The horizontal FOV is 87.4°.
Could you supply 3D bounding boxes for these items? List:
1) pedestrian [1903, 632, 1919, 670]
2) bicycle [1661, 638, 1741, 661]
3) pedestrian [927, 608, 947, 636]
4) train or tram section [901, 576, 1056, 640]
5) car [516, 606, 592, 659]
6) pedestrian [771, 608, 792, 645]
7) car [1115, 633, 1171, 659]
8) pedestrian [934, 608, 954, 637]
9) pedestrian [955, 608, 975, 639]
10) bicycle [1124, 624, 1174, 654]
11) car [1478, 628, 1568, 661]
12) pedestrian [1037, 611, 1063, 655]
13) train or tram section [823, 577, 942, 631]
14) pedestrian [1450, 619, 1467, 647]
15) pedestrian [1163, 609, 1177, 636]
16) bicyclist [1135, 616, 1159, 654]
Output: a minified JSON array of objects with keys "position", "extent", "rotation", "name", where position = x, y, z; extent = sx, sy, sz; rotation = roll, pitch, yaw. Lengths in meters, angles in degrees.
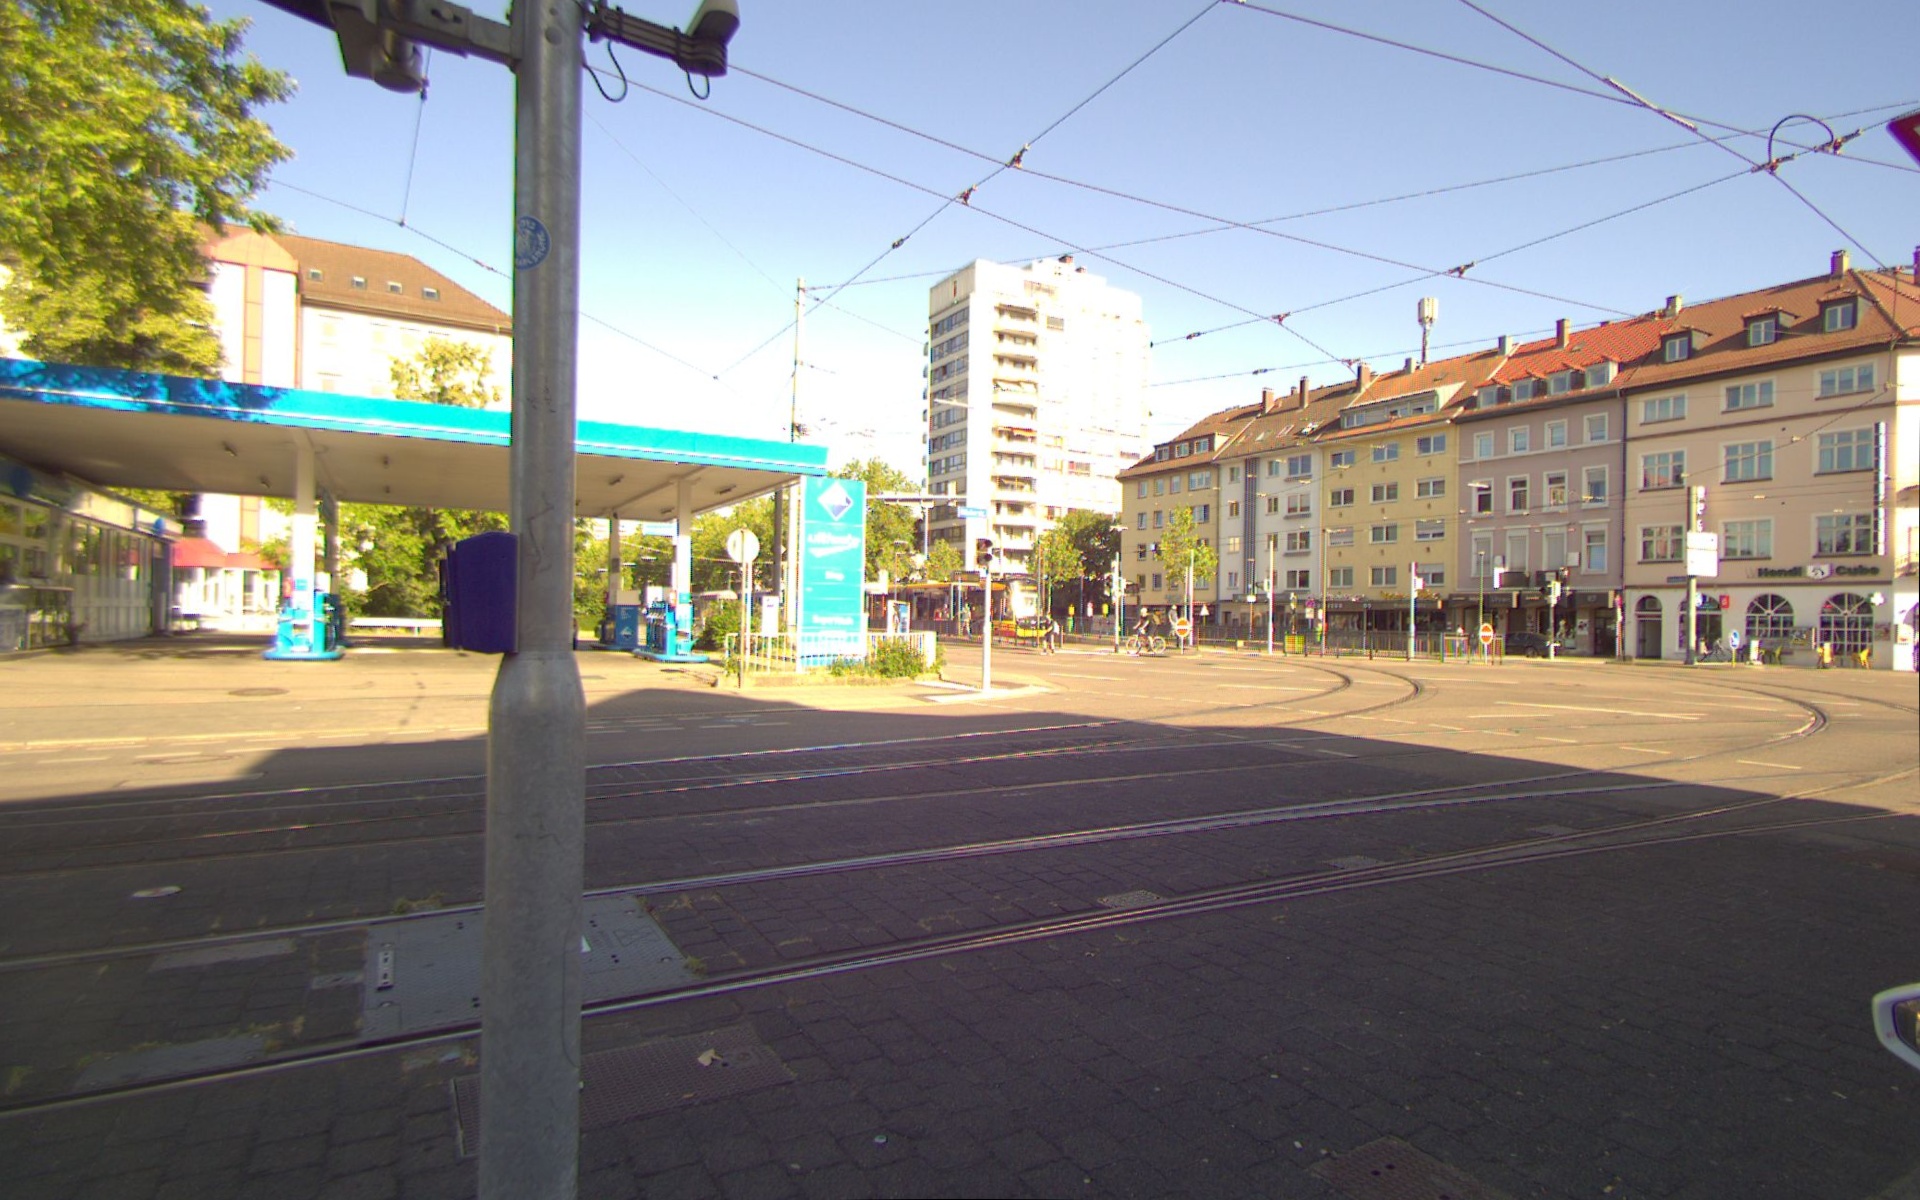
[{"position":[41.352,2.213,43.485],"extent":[0.460,1.633,0.629],"rotation":[2,0,-33],"name":"pedestrian"},{"position":[37.496,2.493,50.889],"extent":[0.989,0.993,3.115],"rotation":[2,0,-29],"name":"bicycle"},{"position":[-1.281,1.210,55.571],"extent":[0.814,1.532,0.699],"rotation":[1,-1,-33],"name":"pedestrian"},{"position":[0.702,0.354,57.596],"extent":[2.751,3.273,12.286],"rotation":[2,0,-31],"name":"train or tram section"},{"position":[-12.166,0.943,30.015],"extent":[1.764,1.411,3.455],"rotation":[2,0,-28],"name":"car"},{"position":[-7.543,1.121,42.444],"extent":[0.808,1.532,0.704],"rotation":[1,-1,-9],"name":"pedestrian"},{"position":[13.235,3.301,72.961],"extent":[1.928,1.639,4.152],"rotation":[2,0,-25],"name":"car"},{"position":[-0.837,1.215,53.933],"extent":[0.814,1.532,0.699],"rotation":[1,-1,-33],"name":"pedestrian"},{"position":[0.266,1.240,52.328],"extent":[0.814,1.608,0.699],"rotation":[1,-1,-33],"name":"pedestrian"},{"position":[7.177,1.476,38.205],"extent":[1.759,1.084,0.575],"rotation":[2,0,1],"name":"bicycle"},{"position":[30.851,2.419,55.134],"extent":[1.970,1.692,3.981],"rotation":[1,-1,-21],"name":"car"},{"position":[3.516,1.287,39.089],"extent":[0.675,1.656,0.694],"rotation":[2,0,-35],"name":"pedestrian"},{"position":[-5.519,0.202,68.041],"extent":[2.751,3.273,12.286],"rotation":[2,0,-31],"name":"train or tram section"},{"position":[30.440,2.015,61.288],"extent":[0.693,1.656,0.629],"rotation":[2,0,-33],"name":"pedestrian"},{"position":[12.968,1.371,62.069],"extent":[0.570,1.649,0.522],"rotation":[2,0,-31],"name":"pedestrian"},{"position":[7.118,1.321,38.205],"extent":[0.787,1.384,0.560],"rotation":[2,0,2],"name":"bicyclist"}]
